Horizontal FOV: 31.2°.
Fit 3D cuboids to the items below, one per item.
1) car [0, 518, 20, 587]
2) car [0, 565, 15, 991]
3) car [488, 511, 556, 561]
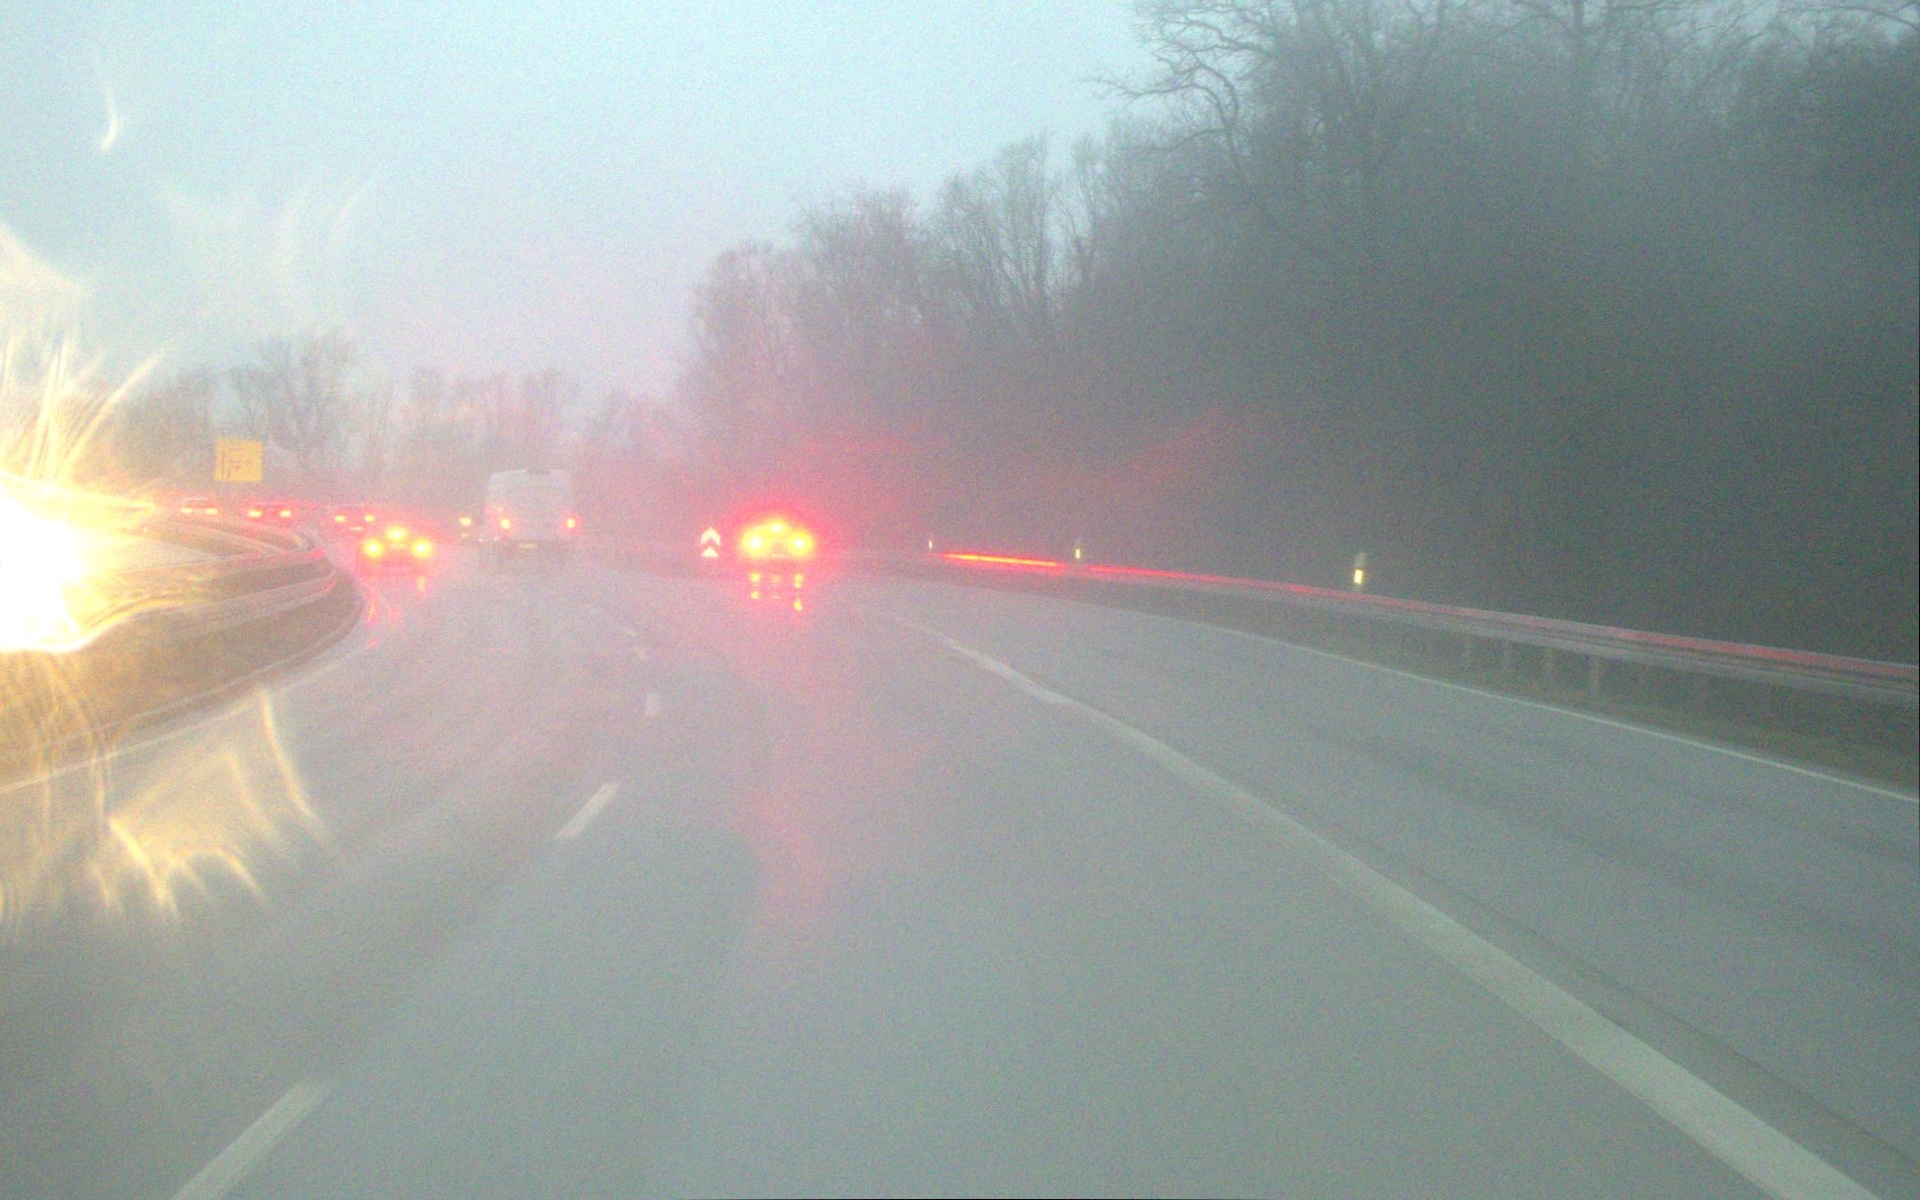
[{"bbox_3d":[-24.469,-1.155,83.783,1.794,1.678,4.689,0,1,0],"label":"car"},{"bbox_3d":[-3.853,0.565,9.239,1.625,1.387,4.000,1,0,-2],"label":"car"},{"bbox_3d":[-12.138,-1.765,95.384,1.416,1.312,3.083,2,1,0],"label":"car"}]
